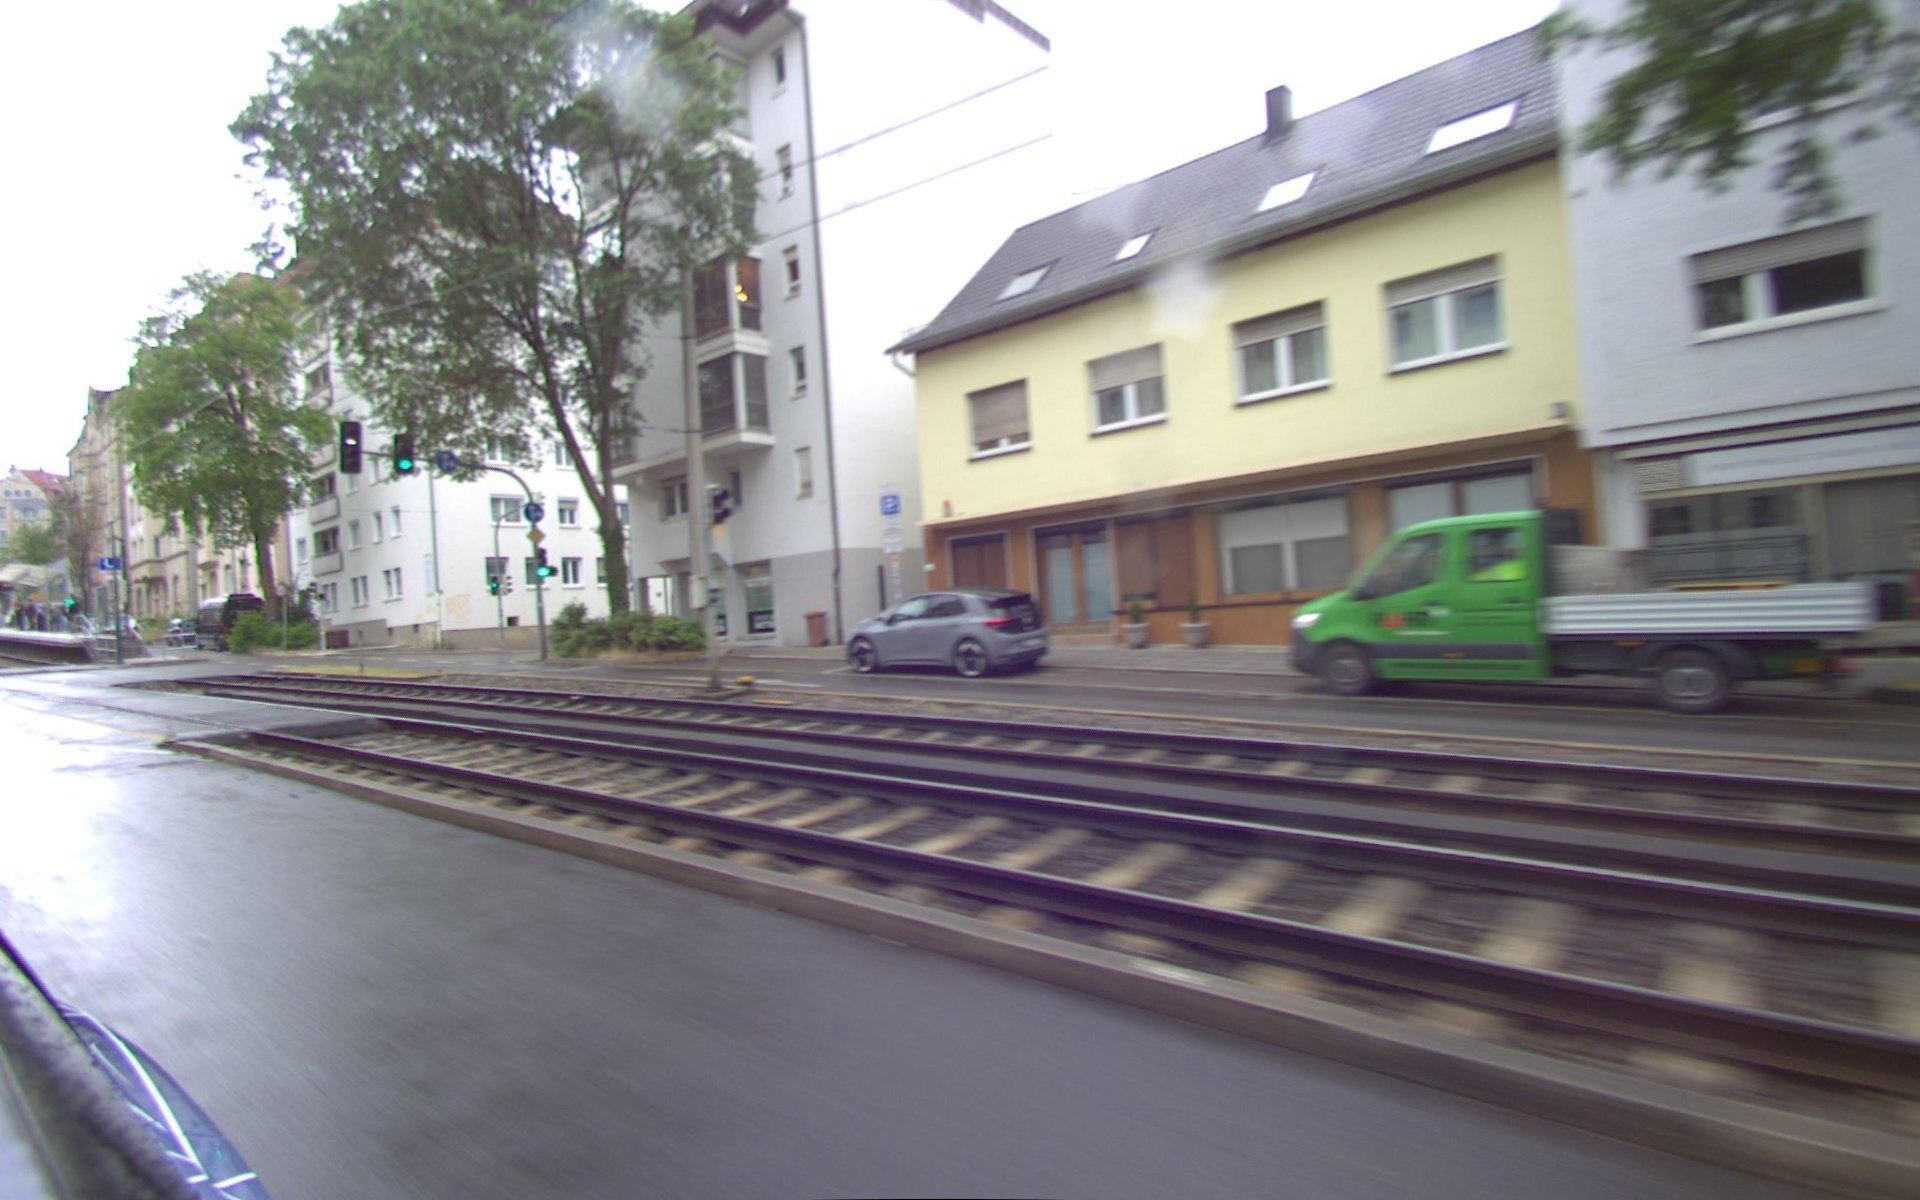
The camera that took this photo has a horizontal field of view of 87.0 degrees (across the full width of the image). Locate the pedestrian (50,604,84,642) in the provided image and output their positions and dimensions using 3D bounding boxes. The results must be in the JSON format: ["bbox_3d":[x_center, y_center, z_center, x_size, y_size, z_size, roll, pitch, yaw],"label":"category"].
[{"bbox_3d":[-43.787,1.120,49.641,0.965,1.796,1.106,-2,0,41],"label":"pedestrian"}]

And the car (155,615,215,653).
[{"bbox_3d":[-43.724,1.901,57.046,3.999,2.029,1.972,-2,0,42],"label":"car"}]

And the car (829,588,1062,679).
[{"bbox_3d":[-0.364,0.606,19.128,4.358,1.471,1.687,-2,1,41],"label":"car"}]

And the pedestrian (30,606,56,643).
[{"bbox_3d":[-47.645,1.258,52.607,0.860,1.866,0.891,-2,0,42],"label":"pedestrian"}]

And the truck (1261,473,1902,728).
[{"bbox_3d":[7.140,0.005,12.363,6.352,2.363,2.168,0,0,43],"label":"truck"}]

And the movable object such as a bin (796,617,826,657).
[{"bbox_3d":[-3.891,0.957,26.480,0.644,1.022,0.434,-2,0,39],"label":"movable object such as a bin"}]

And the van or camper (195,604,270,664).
[{"bbox_3d":[-36.577,1.682,50.804,5.211,2.819,1.972,-1,0,42],"label":"van or camper"}]
